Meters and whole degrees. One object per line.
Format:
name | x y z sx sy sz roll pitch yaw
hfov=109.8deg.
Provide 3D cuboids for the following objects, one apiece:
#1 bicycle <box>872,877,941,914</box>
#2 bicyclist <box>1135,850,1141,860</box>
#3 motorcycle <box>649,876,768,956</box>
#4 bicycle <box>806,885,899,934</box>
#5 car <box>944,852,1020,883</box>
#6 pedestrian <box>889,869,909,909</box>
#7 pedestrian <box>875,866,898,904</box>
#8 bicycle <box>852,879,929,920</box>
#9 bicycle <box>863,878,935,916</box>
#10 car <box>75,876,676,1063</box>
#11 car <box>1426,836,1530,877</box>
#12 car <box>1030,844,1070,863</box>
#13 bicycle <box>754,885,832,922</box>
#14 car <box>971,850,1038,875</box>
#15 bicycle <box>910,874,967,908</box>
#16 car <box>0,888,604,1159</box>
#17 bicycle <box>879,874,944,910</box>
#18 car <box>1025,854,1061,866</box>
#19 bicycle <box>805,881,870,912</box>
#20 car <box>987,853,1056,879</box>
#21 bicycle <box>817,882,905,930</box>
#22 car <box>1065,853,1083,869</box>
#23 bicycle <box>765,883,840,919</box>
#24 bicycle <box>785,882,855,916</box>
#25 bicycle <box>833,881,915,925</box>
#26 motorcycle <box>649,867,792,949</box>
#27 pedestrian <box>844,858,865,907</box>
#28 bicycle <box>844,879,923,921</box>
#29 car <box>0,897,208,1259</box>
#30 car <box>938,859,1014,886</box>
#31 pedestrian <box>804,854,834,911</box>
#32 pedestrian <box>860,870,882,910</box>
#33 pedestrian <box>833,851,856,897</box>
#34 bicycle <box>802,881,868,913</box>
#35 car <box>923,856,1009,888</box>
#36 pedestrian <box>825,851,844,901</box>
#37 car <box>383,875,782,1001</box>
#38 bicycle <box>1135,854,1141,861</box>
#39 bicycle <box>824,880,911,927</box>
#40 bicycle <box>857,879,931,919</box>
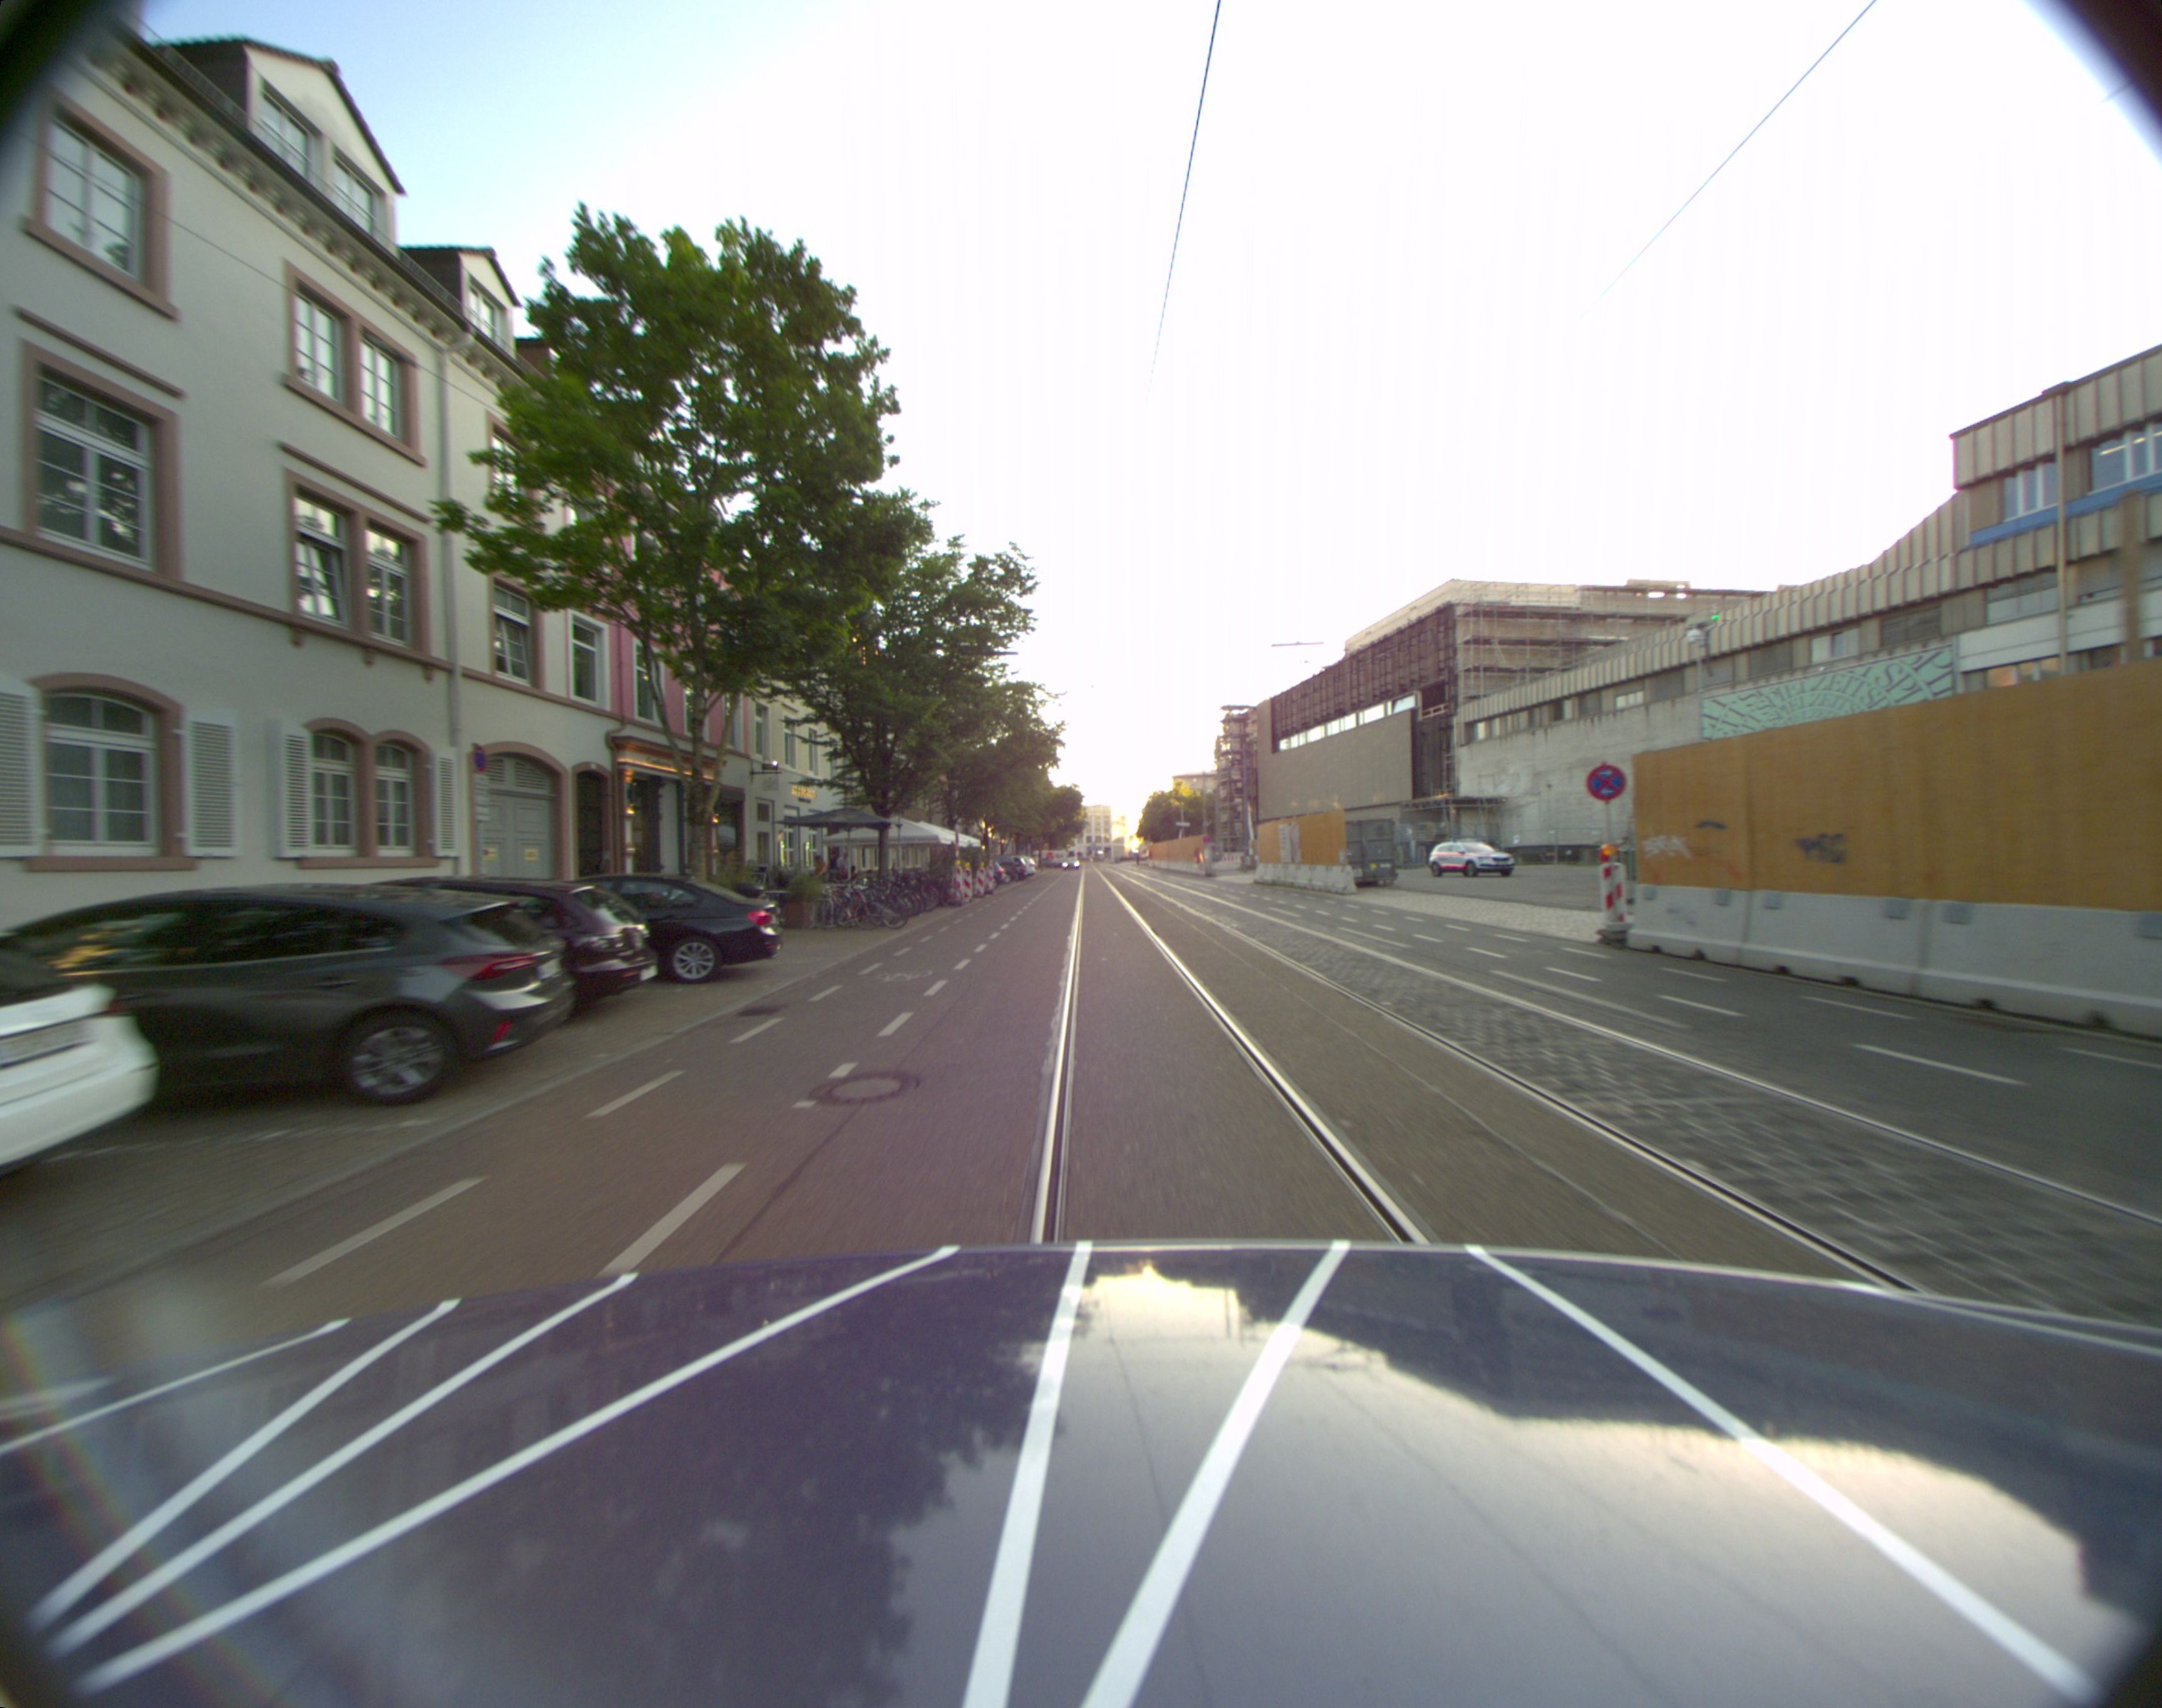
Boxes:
bicycle | -5.210 1.235 22.690 1.891 1.025 0.608 2 0 -1
bicyclist | 9.438 0.112 125.722 0.770 1.656 1.018 -1 0 0
motorcycle | -6.480 1.063 13.256 1.790 1.336 0.533 1 1 -1
bicycle | -5.143 1.246 17.186 1.908 1.025 0.533 2 0 -1
car | -6.040 0.789 46.429 4.167 1.796 2.003 0 0 -28
pedestrian | -6.000 1.151 25.107 0.503 1.285 0.600 -2 1 -4
pedestrian | -6.809 1.084 26.572 0.599 1.285 0.504 -2 1 3
bicycle | -5.145 1.221 20.577 1.891 1.025 0.608 2 0 -1
bicycle | -5.252 1.232 21.999 1.891 1.025 0.608 2 0 -1
car | -6.562 1.027 7.707 3.964 1.462 1.998 2 0 -16
car | 17.665 0.114 34.064 2.000 1.654 4.277 -2 0 -7
car | -4.624 -0.091 113.313 5.650 2.678 2.166 -1 0 -34
bicycle | -7.213 1.237 19.049 1.820 0.867 0.325 2 1 -1
car | -5.500 0.637 55.114 4.661 1.678 2.008 1 0 0
bicycle | -4.539 1.180 24.253 1.683 1.025 0.557 2 0 -1
car | -6.027 1.034 5.392 4.133 1.462 1.820 2 0 -19
bicycle | -5.210 1.169 23.425 1.820 1.025 0.608 2 0 -1
car | -5.370 0.839 106.850 4.614 1.504 1.859 1 -1 -23
bicycle | -7.367 1.279 23.031 1.820 0.867 0.387 -2 1 -1
car | -4.090 0.813 52.585 4.662 1.678 2.007 1 0 -5
bicycle | -5.134 1.202 17.782 1.868 1.025 0.591 2 0 -2
car | -0.797 0.814 88.992 1.840 1.631 4.169 -5 0 1
bicycle | -7.272 1.215 19.871 1.820 0.867 0.325 2 1 -1
bicycle | -7.241 1.247 21.110 1.820 0.867 0.325 2 1 -1
bicycle | -5.204 1.222 19.162 1.891 1.025 0.608 2 0 -1
motorcycle | -6.773 1.002 14.380 2.228 1.453 0.967 1 0 -1
pedestrian | -8.182 1.019 27.486 0.552 1.753 0.715 -2 1 -6
bicycle | -5.142 1.196 19.839 1.891 1.025 0.608 2 0 -1
car | -6.583 0.932 2.674 4.135 1.462 1.983 2 0 -24
car | -5.680 0.970 41.007 3.789 1.399 1.703 1 0 -21
pedestrian | -8.211 0.872 23.849 0.552 1.753 0.894 -2 1 0
pedestrian | -6.890 1.171 24.944 0.503 1.285 0.600 -2 1 -3
pedestrian | -9.178 0.757 29.502 0.705 1.753 0.713 -2 1 -27
bicycle | -7.225 1.275 22.353 1.820 0.867 0.325 -2 1 -1
car | -5.801 0.872 38.376 3.979 1.544 1.702 1 0 -25
pedestrian | -8.820 0.782 27.178 0.553 1.753 0.851 -2 1 -16
car | -6.380 1.056 10.340 4.179 1.418 1.820 2 0 -18
bicycle | 9.446 0.563 125.741 0.770 1.221 1.936 -1 0 0
bicycle | -5.175 1.196 18.465 1.891 1.061 0.674 2 0 -1
bicycle | -5.230 1.250 21.299 1.891 1.025 0.608 2 0 -1
